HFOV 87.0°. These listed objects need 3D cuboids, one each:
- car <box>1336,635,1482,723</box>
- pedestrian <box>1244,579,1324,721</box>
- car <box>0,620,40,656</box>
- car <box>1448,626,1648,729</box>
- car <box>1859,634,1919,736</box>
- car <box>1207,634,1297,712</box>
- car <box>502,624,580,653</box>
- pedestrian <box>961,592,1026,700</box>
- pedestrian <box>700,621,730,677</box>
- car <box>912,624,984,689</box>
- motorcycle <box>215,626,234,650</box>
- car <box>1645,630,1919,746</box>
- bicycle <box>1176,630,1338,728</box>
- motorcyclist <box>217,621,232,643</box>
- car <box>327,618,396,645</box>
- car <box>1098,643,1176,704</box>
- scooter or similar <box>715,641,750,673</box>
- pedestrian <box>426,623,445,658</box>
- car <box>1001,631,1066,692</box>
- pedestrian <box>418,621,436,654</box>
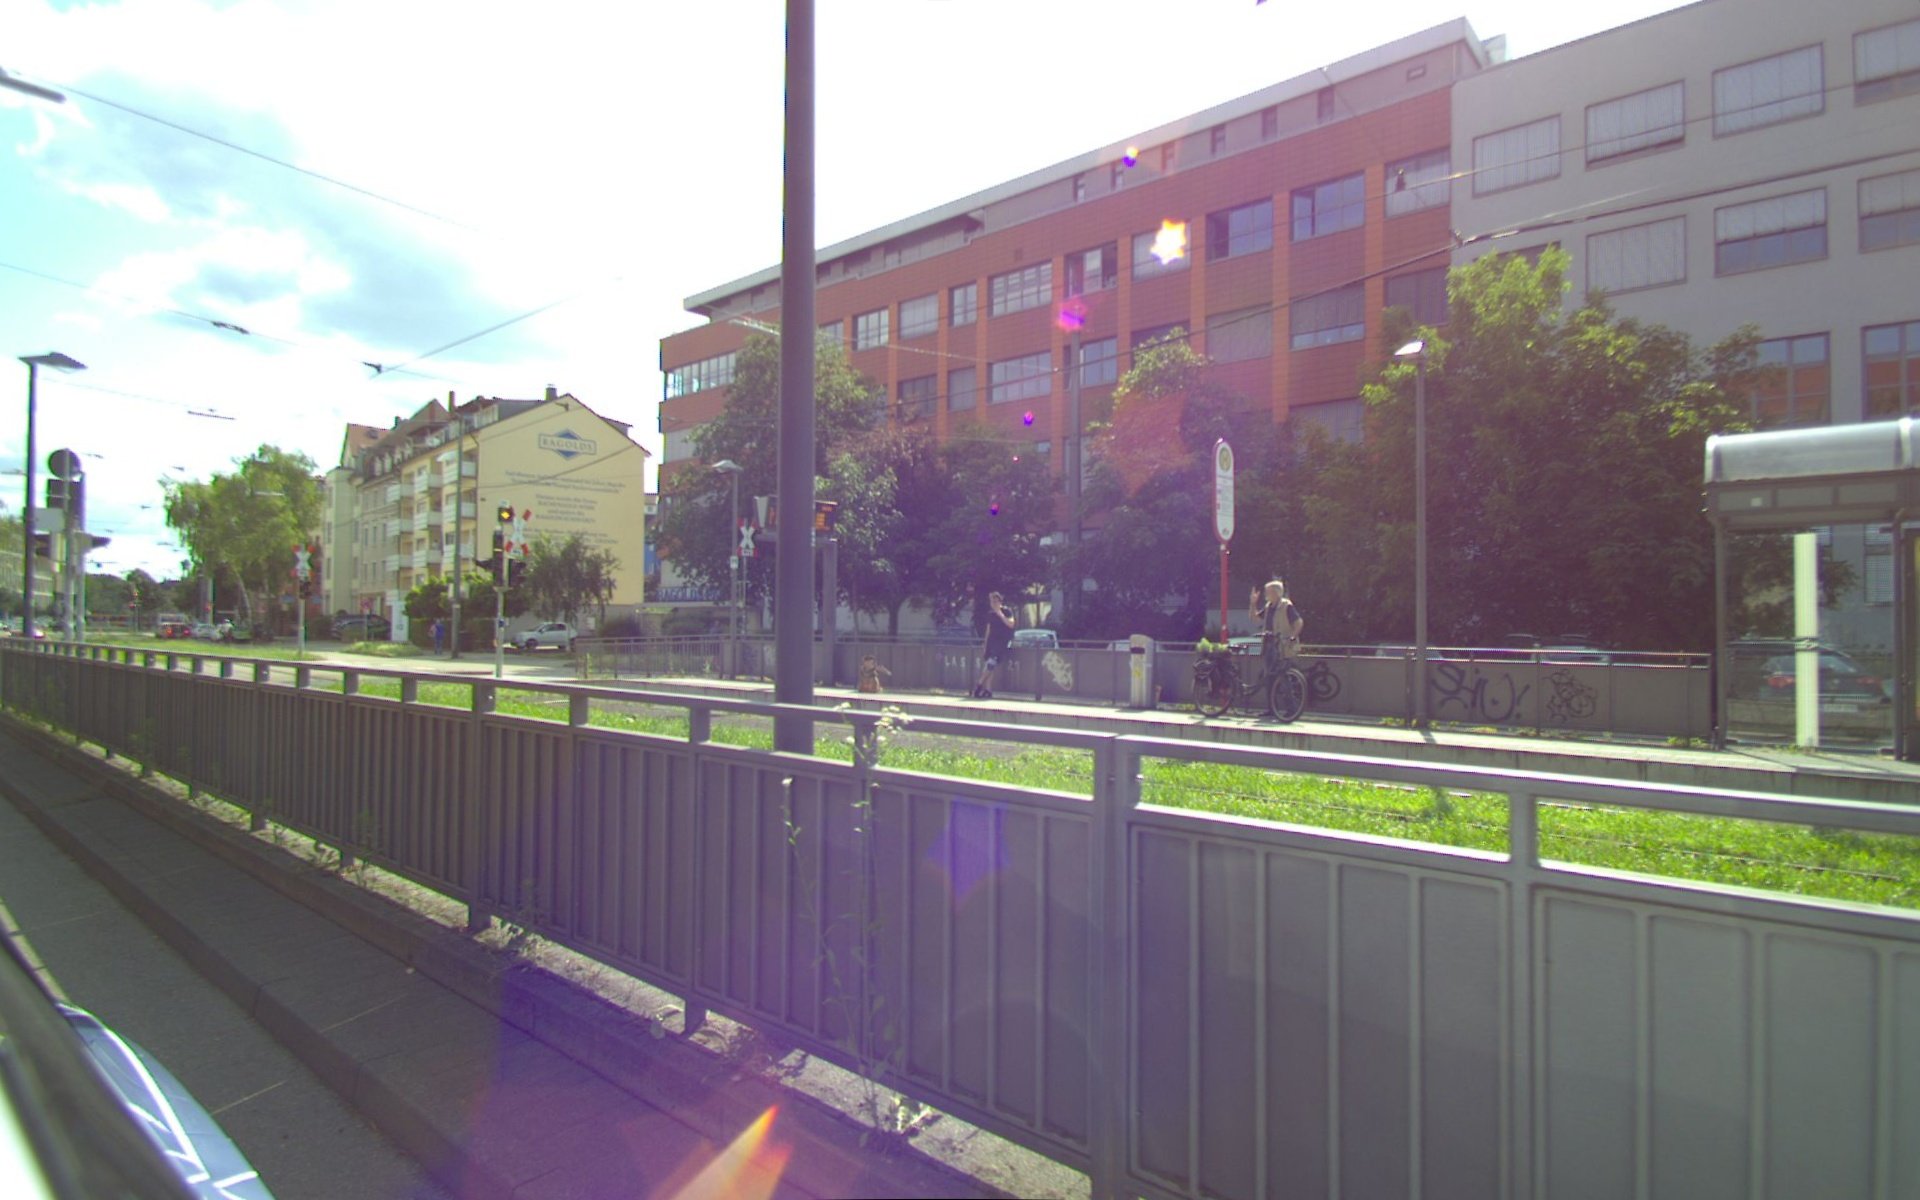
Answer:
[{"bbox_3d":[8.697,1.483,19.867,1.651,1.420,3.063,2,0,5],"label":"car"},{"bbox_3d":[4.150,0.626,12.952,0.798,1.737,0.632,0,-2,38],"label":"pedestrian"},{"bbox_3d":[-57.271,2.287,61.550,1.970,2.029,4.005,0,0,-42],"label":"car"},{"bbox_3d":[10.834,1.368,18.994,1.651,1.652,3.994,2,-2,5],"label":"car"},{"bbox_3d":[15.713,1.334,14.837,1.651,1.540,3.995,-1,0,4],"label":"car"},{"bbox_3d":[6.315,1.535,22.164,1.568,1.431,3.302,0,0,10],"label":"car"},{"bbox_3d":[-22.815,2.097,55.118,3.557,1.491,1.777,2,-6,-43],"label":"car"},{"bbox_3d":[0.547,0.735,16.435,0.798,1.712,0.659,0,-2,38],"label":"pedestrian"},{"bbox_3d":[-8.028,1.615,33.205,0.619,1.807,0.651,-1,-4,35],"label":"pedestrian"},{"bbox_3d":[-0.270,1.528,28.107,1.850,1.671,3.841,0,-2,2],"label":"car"},{"bbox_3d":[-46.738,2.412,64.298,2.010,1.414,0.626,0,0,43],"label":"motorcycle"},{"bbox_3d":[13.324,1.338,16.618,1.651,1.540,3.994,-1,0,5],"label":"car"},{"bbox_3d":[3.677,0.955,12.652,0.653,1.122,1.880,4,-4,-41],"label":"bicycle"},{"bbox_3d":[-46.810,2.022,64.366,0.693,1.368,0.654,0,0,43],"label":"motorcyclist"},{"bbox_3d":[-45.213,2.399,76.538,4.195,2.029,2.003,2,-2,-40],"label":"car"},{"bbox_3d":[4.219,1.725,24.440,1.584,1.314,3.247,0,-2,5],"label":"car"},{"bbox_3d":[-7.580,1.897,33.722,0.619,1.063,0.976,-1,-4,35],"label":"scooter or similar"},{"bbox_3d":[-25.784,1.989,49.752,0.481,1.723,0.641,-1,-3,42],"label":"pedestrian"},{"bbox_3d":[1.947,1.602,27.328,1.629,1.508,3.995,0,-2,3],"label":"car"},{"bbox_3d":[-27.872,1.968,52.951,0.588,1.723,0.641,-1,-3,42],"label":"pedestrian"}]
